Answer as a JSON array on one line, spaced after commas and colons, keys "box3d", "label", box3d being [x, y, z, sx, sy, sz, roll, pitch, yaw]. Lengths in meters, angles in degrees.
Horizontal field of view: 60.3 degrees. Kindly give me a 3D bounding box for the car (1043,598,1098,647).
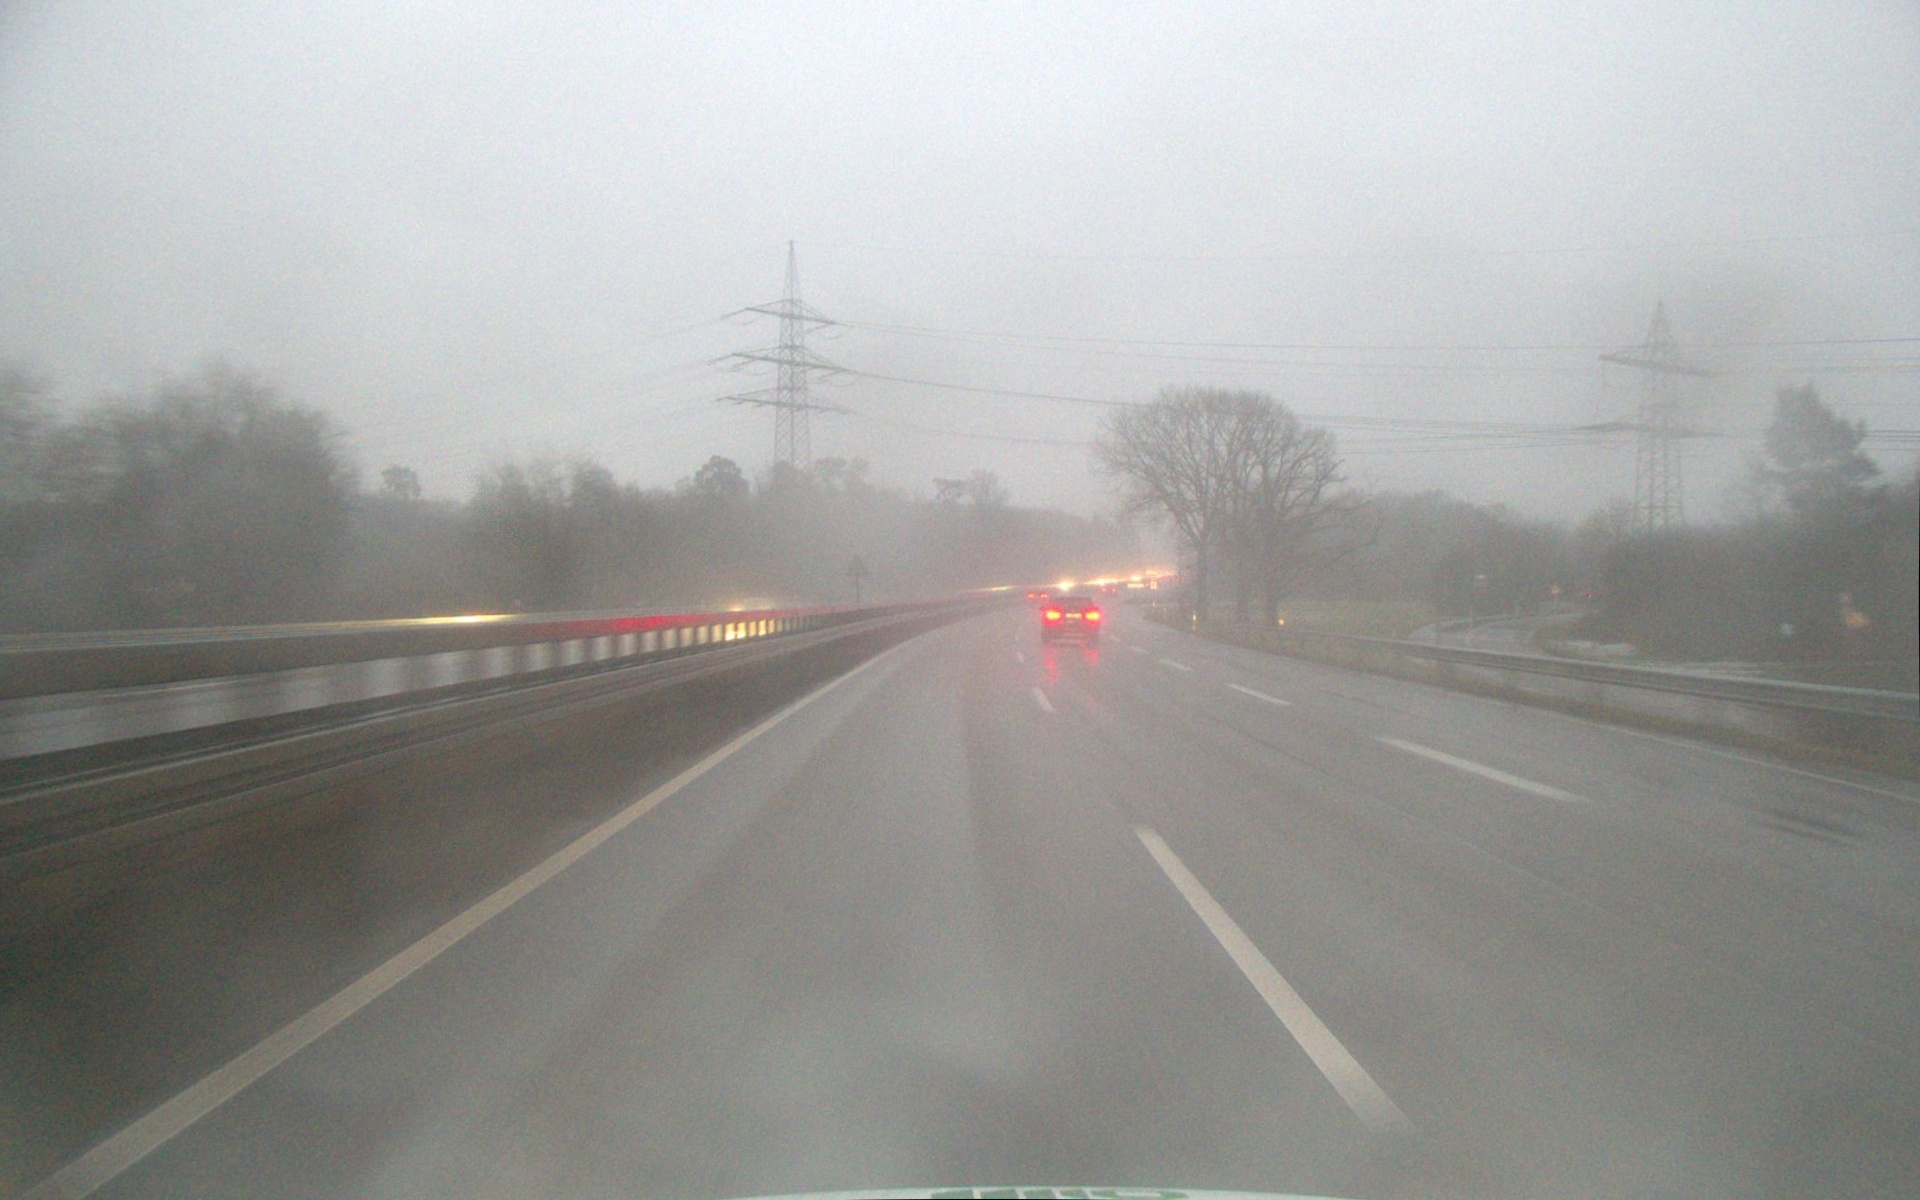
[{"box3d": [3.779, 0.735, 56.176, 1.642, 1.535, 3.812, 0, 1, 7], "label": "car"}]
